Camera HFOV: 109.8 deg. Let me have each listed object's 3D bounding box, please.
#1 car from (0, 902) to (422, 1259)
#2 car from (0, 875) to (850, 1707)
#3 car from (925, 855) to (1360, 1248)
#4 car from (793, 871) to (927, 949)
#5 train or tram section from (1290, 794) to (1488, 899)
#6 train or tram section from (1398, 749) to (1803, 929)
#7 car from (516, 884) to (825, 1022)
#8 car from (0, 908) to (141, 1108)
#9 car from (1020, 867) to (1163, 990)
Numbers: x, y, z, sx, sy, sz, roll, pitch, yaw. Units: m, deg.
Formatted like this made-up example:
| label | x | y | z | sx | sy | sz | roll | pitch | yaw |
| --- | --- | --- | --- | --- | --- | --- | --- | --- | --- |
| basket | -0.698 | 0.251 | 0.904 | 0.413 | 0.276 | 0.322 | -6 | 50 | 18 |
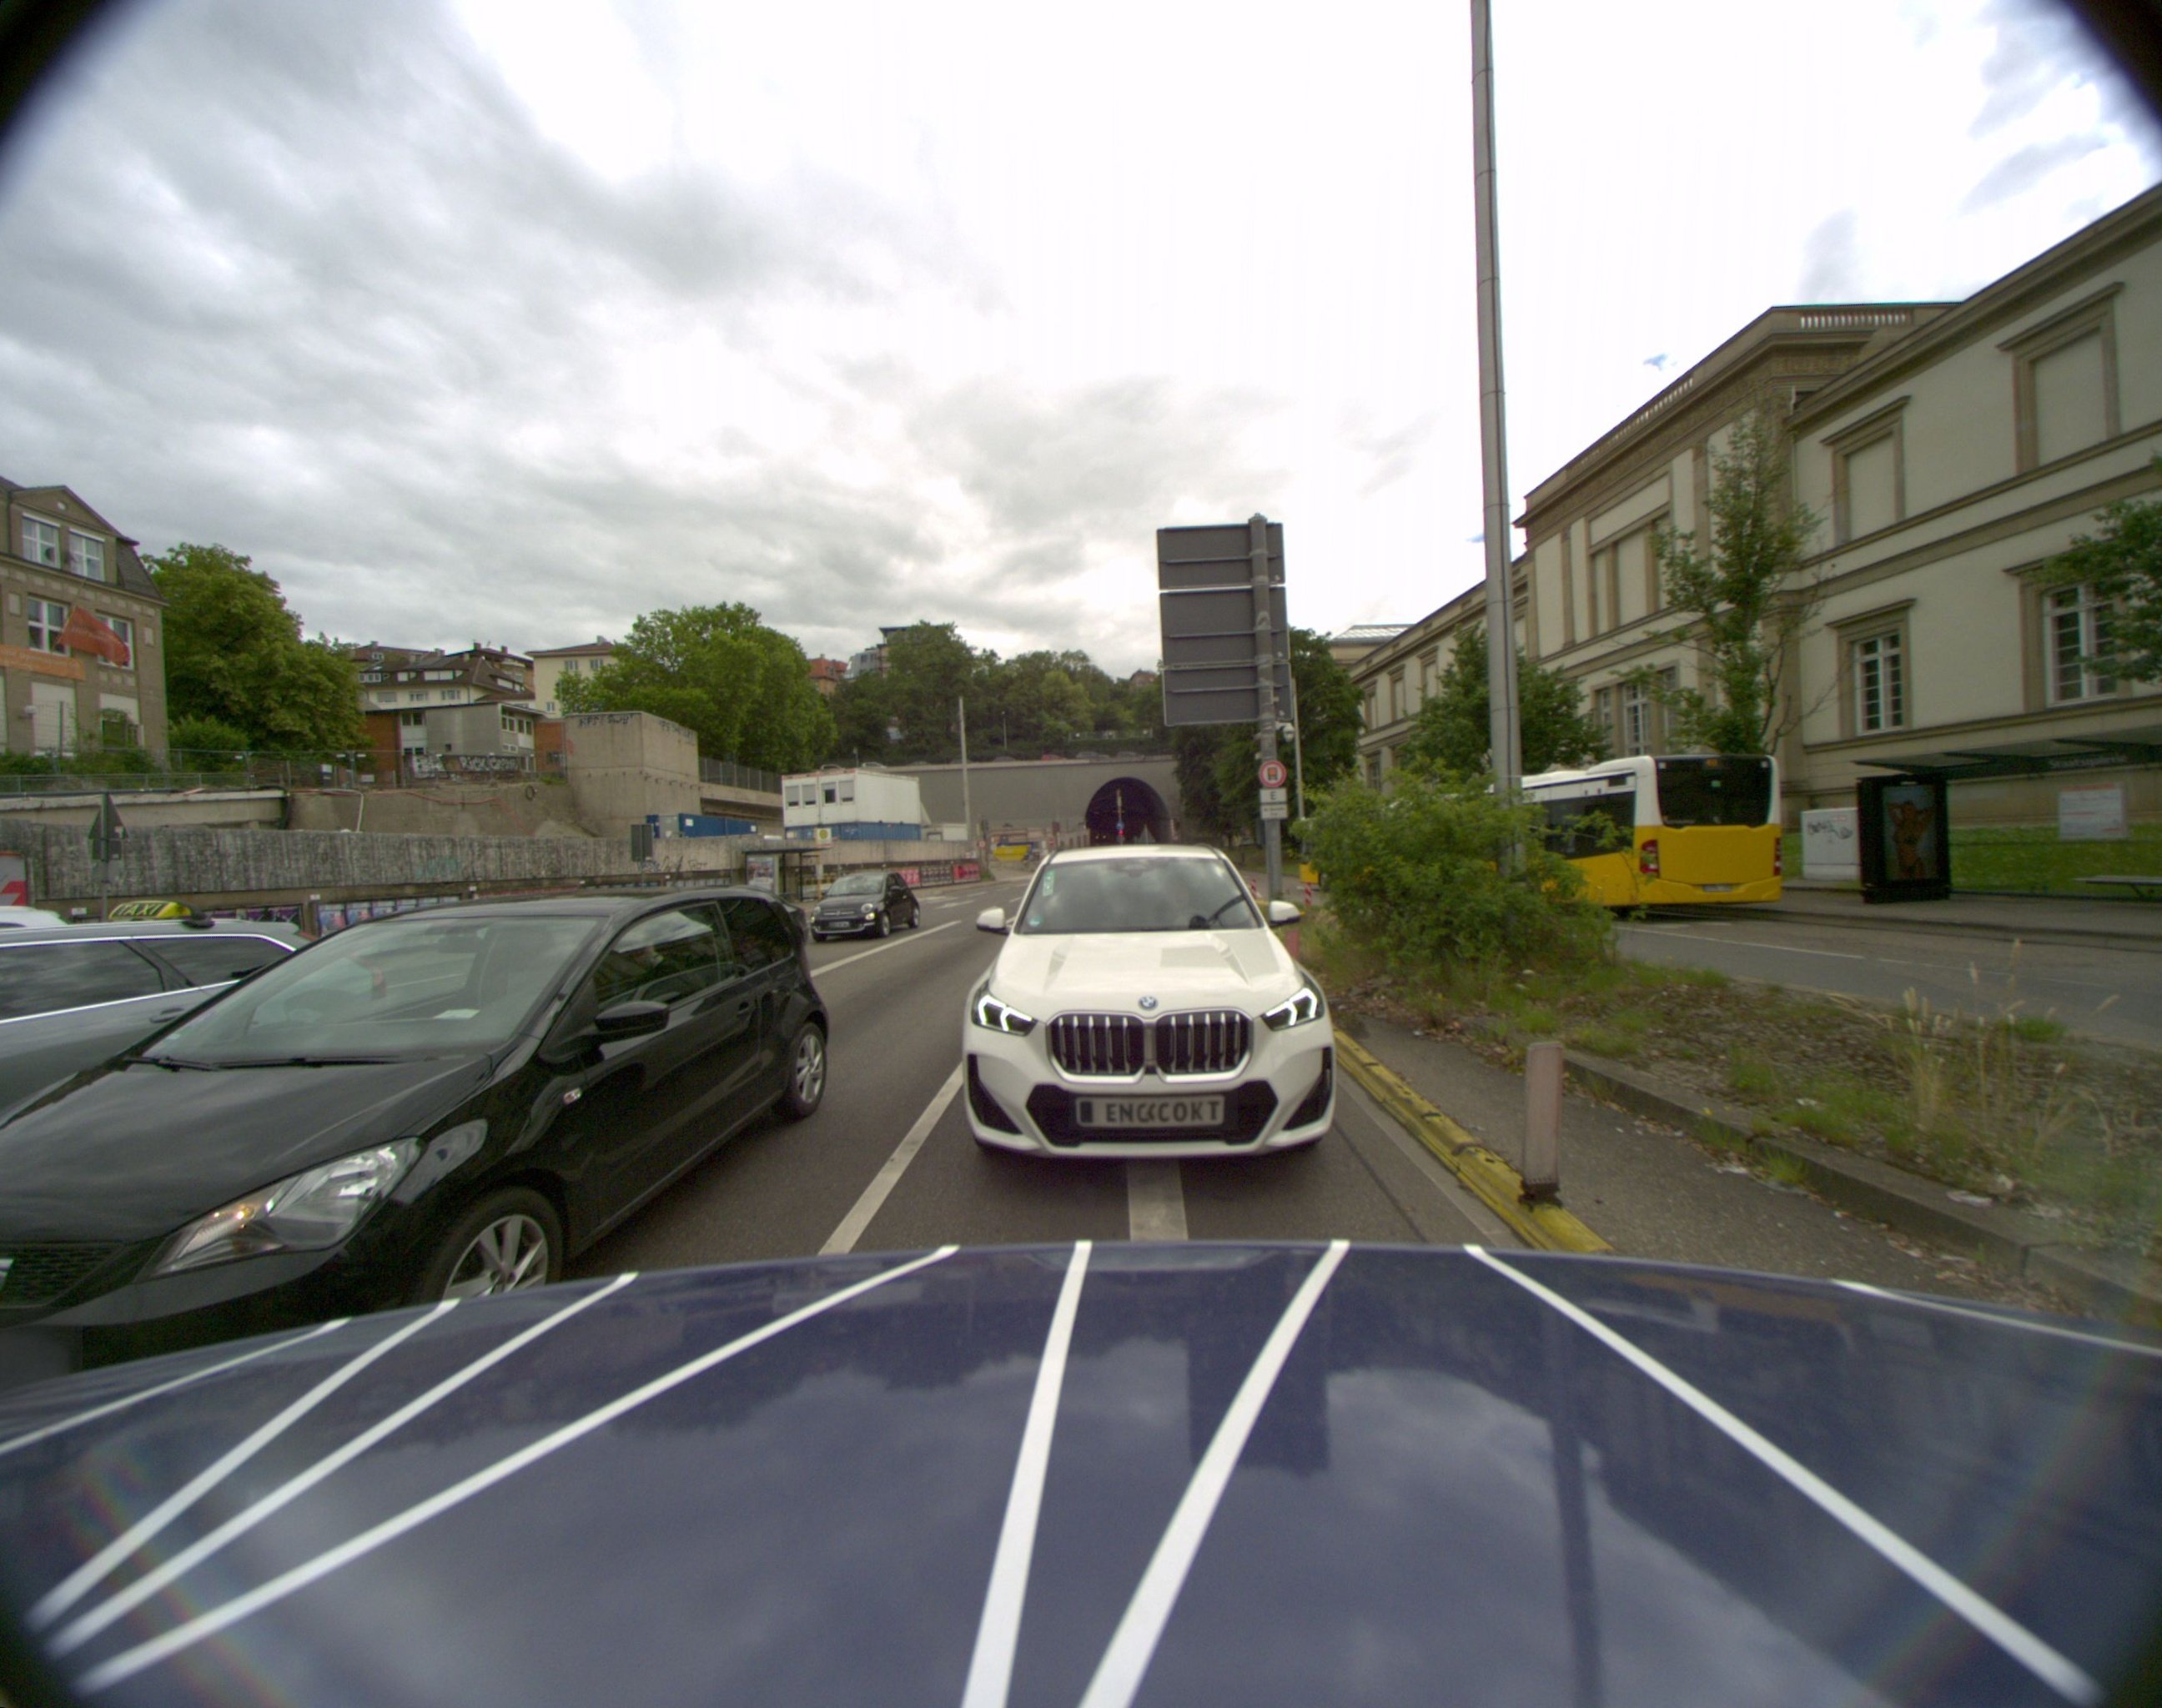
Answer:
| label | x | y | z | sx | sy | sz | roll | pitch | yaw |
| --- | --- | --- | --- | --- | --- | --- | --- | --- | --- |
| car | -5.825 | 1.138 | 3.458 | 1.826 | 1.457 | 4.217 | -2 | 1 | 2 |
| car | -2.530 | 0.973 | 3.279 | 1.661 | 1.547 | 3.911 | -2 | 1 | 3 |
| car | 0.339 | 0.842 | 5.126 | 1.756 | 1.547 | 3.911 | -2 | 1 | 3 |
| car | -4.980 | 1.214 | 17.710 | 1.720 | 1.450 | 3.782 | -3 | 0 | 4 |
| train or tram section | 10.350 | -0.233 | 27.007 | 2.701 | 3.053 | 9.373 | -1 | 0 | -4 |
| train or tram section | 10.874 | -0.266 | 17.690 | 2.701 | 3.053 | 9.334 | -1 | 0 | -3 |
| car | -5.400 | 1.220 | 10.764 | 1.826 | 1.356 | 4.219 | -2 | 0 | 4 |
| car | -9.151 | 1.253 | 4.583 | 1.826 | 1.457 | 4.073 | -2 | 1 | 0 |
| car | 0.221 | 0.984 | 11.602 | 1.756 | 1.427 | 3.911 | -2 | 0 | 3 |
